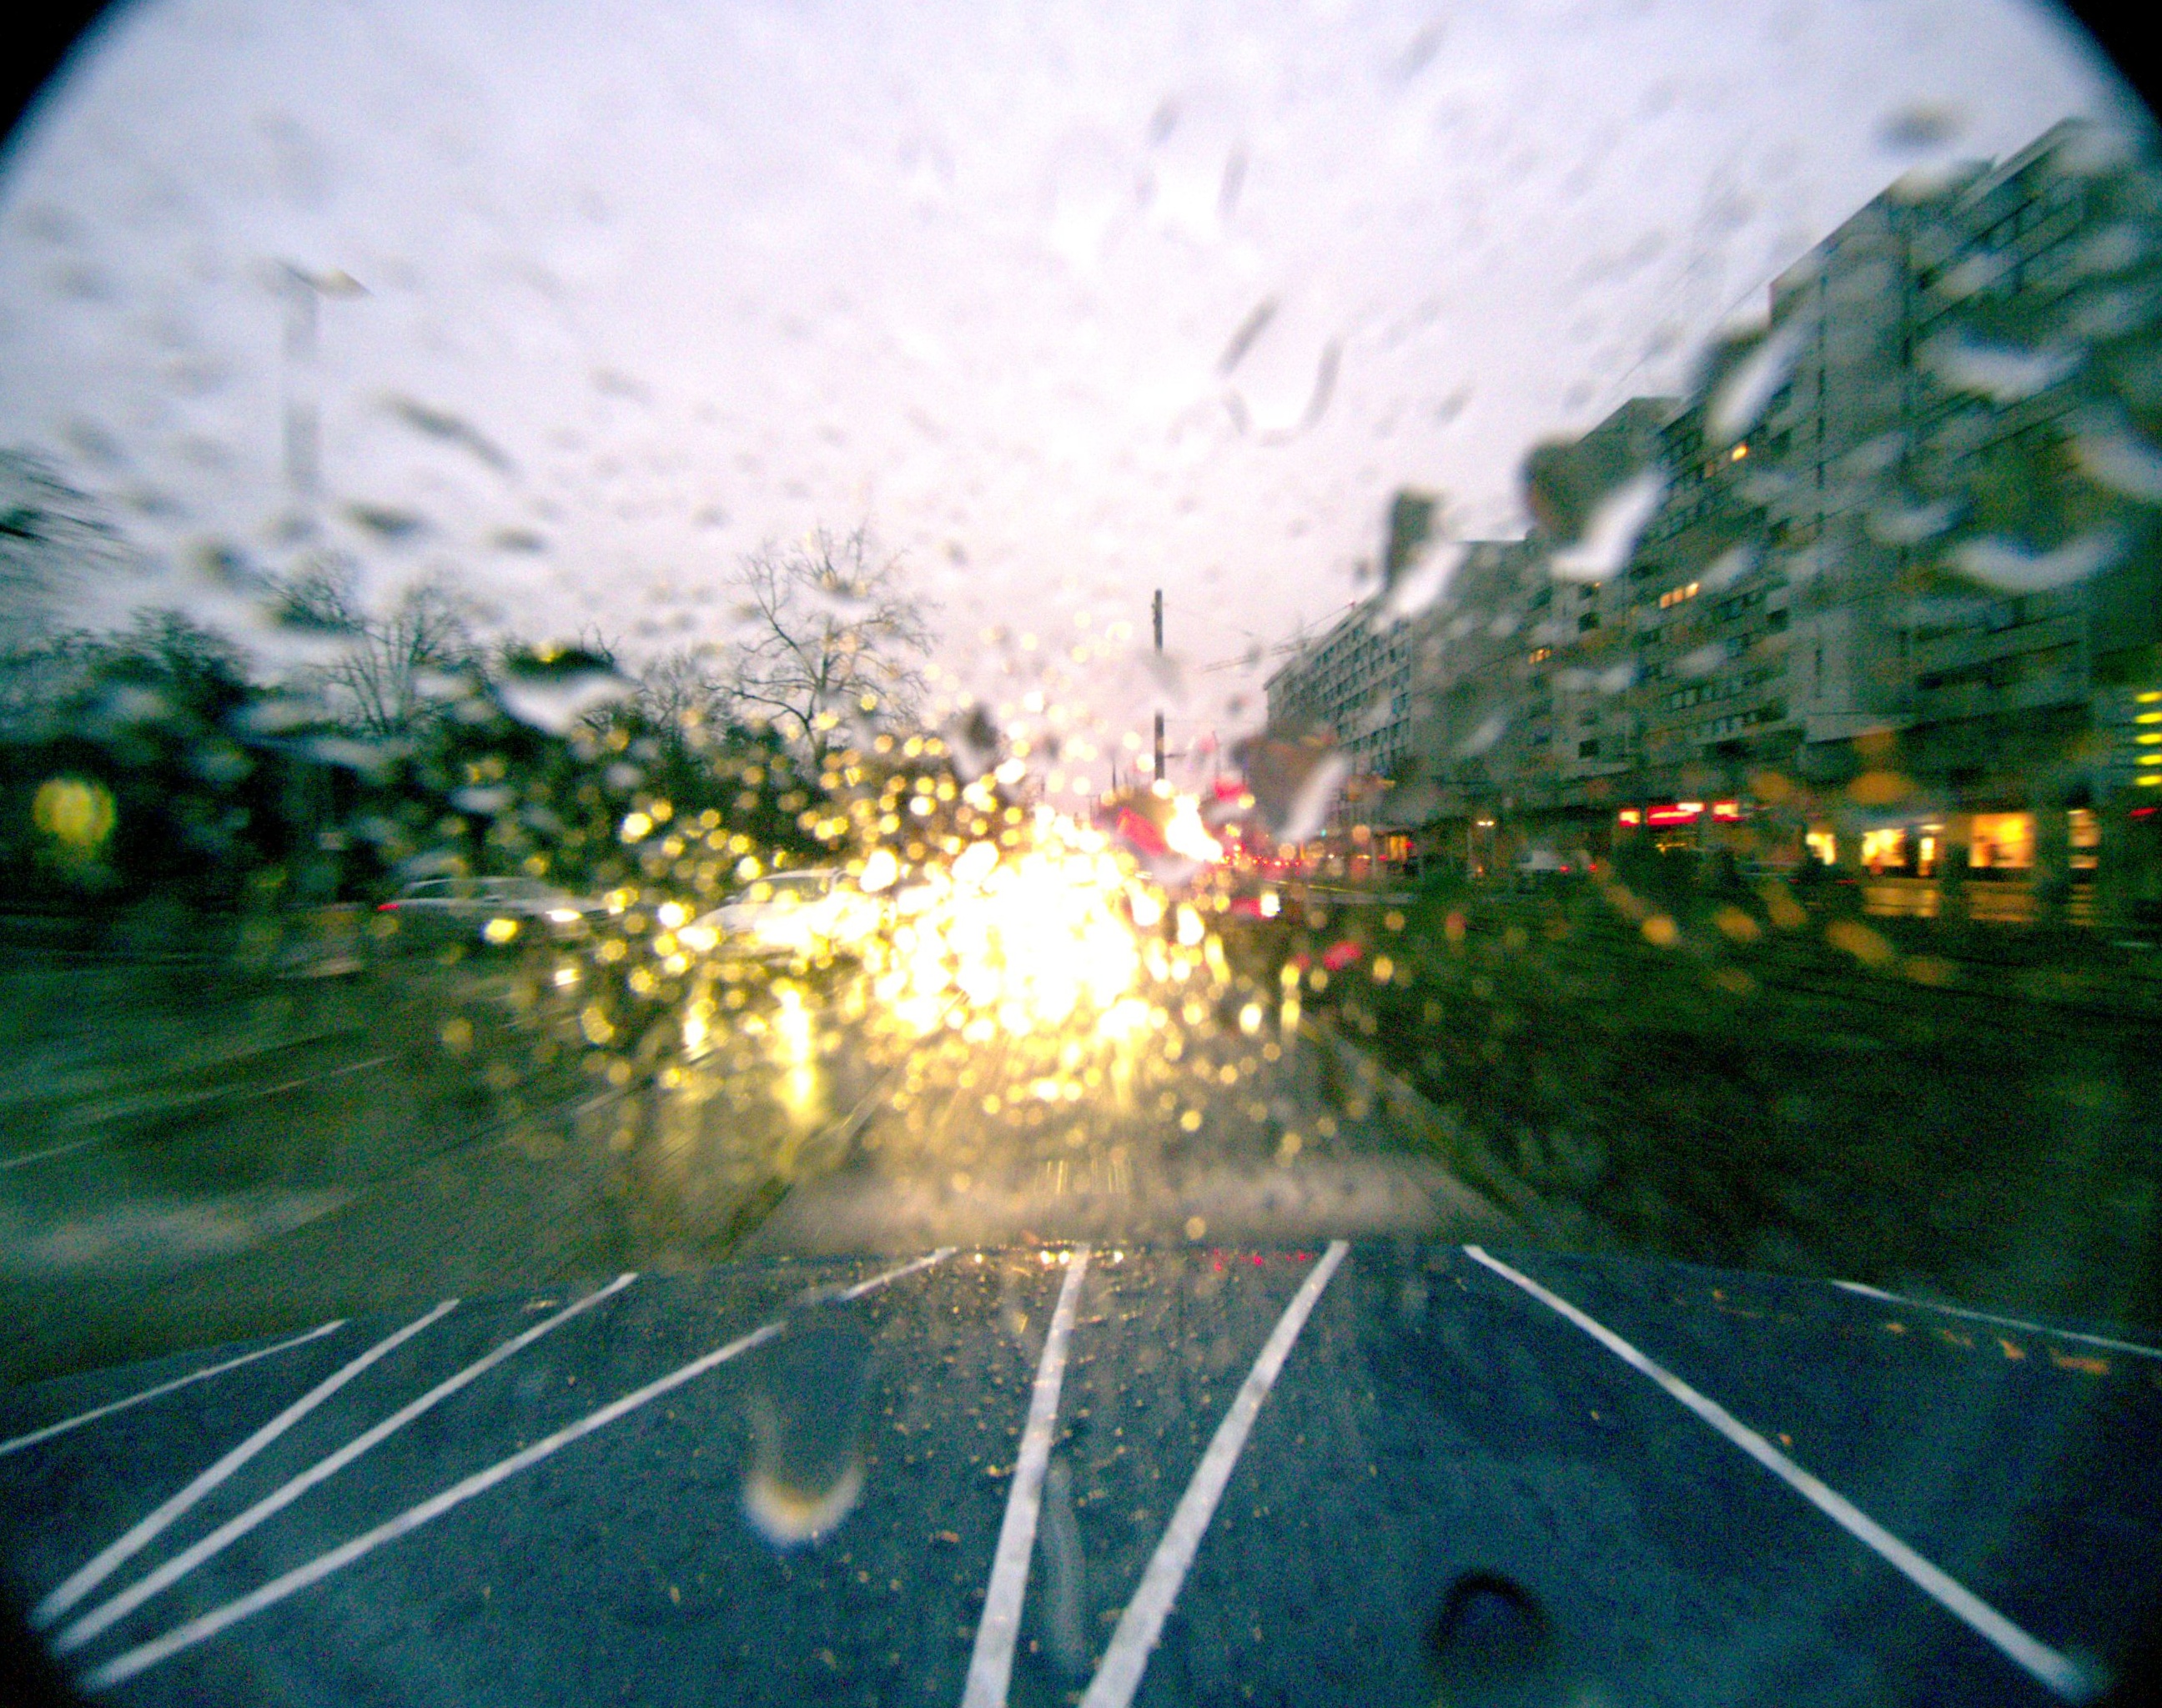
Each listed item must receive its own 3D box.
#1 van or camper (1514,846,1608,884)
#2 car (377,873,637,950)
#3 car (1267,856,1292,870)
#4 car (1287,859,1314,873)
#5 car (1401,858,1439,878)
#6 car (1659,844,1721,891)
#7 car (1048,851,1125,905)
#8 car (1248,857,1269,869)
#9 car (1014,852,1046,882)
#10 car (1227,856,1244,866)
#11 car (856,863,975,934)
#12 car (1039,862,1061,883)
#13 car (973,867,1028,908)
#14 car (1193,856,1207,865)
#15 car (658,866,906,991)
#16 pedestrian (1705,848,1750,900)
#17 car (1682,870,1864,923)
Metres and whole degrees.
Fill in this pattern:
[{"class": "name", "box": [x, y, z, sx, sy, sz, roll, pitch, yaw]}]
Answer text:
[{"class": "van or camper", "box": [28.434, 0.624, 45.317, 1.998, 2.085, 5.654, -1, 0, 0]}, {"class": "car", "box": [-12.336, 1.196, 16.458, 4.511, 1.480, 1.883, -1, 1, 10]}, {"class": "car", "box": [23.376, 1.056, 89.633, 1.754, 1.503, 3.889, -1, 1, -1]}, {"class": "car", "box": [23.330, 1.263, 80.697, 1.677, 1.440, 3.766, -1, 1, -1]}, {"class": "car", "box": [29.257, 1.215, 65.557, 3.785, 1.608, 1.676, -2, 1, -44]}, {"class": "car", "box": [29.399, 0.611, 36.648, 1.994, 2.002, 4.581, -1, 1, 43]}, {"class": "car", "box": [0.151, 0.677, 23.716, 2.160, 1.490, 4.007, -1, 1, 0]}, {"class": "car", "box": [23.182, 1.159, 99.303, 1.754, 1.440, 3.872, -1, 1, -1]}, {"class": "car", "box": [-3.059, 0.749, 45.976, 1.679, 1.739, 3.864, -1, 0, 0]}, {"class": "car", "box": [23.043, 1.080, 113.445, 1.596, 1.440, 3.872, -1, 1, -1]}, {"class": "car", "box": [-3.995, 1.022, 18.999, 1.777, 1.453, 4.041, -1, 1, 4]}, {"class": "car", "box": [-2.549, 1.519, 63.519, 1.679, 1.670, 3.864, -1, 0, 0]}, {"class": "car", "box": [-3.380, 1.366, 32.562, 1.881, 1.490, 4.076, -1, 1, 0]}, {"class": "car", "box": [19.584, 1.069, 125.132, 1.596, 1.440, 3.872, -1, 1, -1]}, {"class": "car", "box": [-4.493, 1.020, 12.440, 1.791, 1.493, 4.968, -2, 0, 4]}, {"class": "pedestrian", "box": [18.906, 0.567, 22.227, 0.792, 1.481, 0.630, -1, 1, -8]}, {"class": "car", "box": [24.127, 1.431, 26.795, 1.999, 1.536, 4.702, -1, 0, -3]}]
